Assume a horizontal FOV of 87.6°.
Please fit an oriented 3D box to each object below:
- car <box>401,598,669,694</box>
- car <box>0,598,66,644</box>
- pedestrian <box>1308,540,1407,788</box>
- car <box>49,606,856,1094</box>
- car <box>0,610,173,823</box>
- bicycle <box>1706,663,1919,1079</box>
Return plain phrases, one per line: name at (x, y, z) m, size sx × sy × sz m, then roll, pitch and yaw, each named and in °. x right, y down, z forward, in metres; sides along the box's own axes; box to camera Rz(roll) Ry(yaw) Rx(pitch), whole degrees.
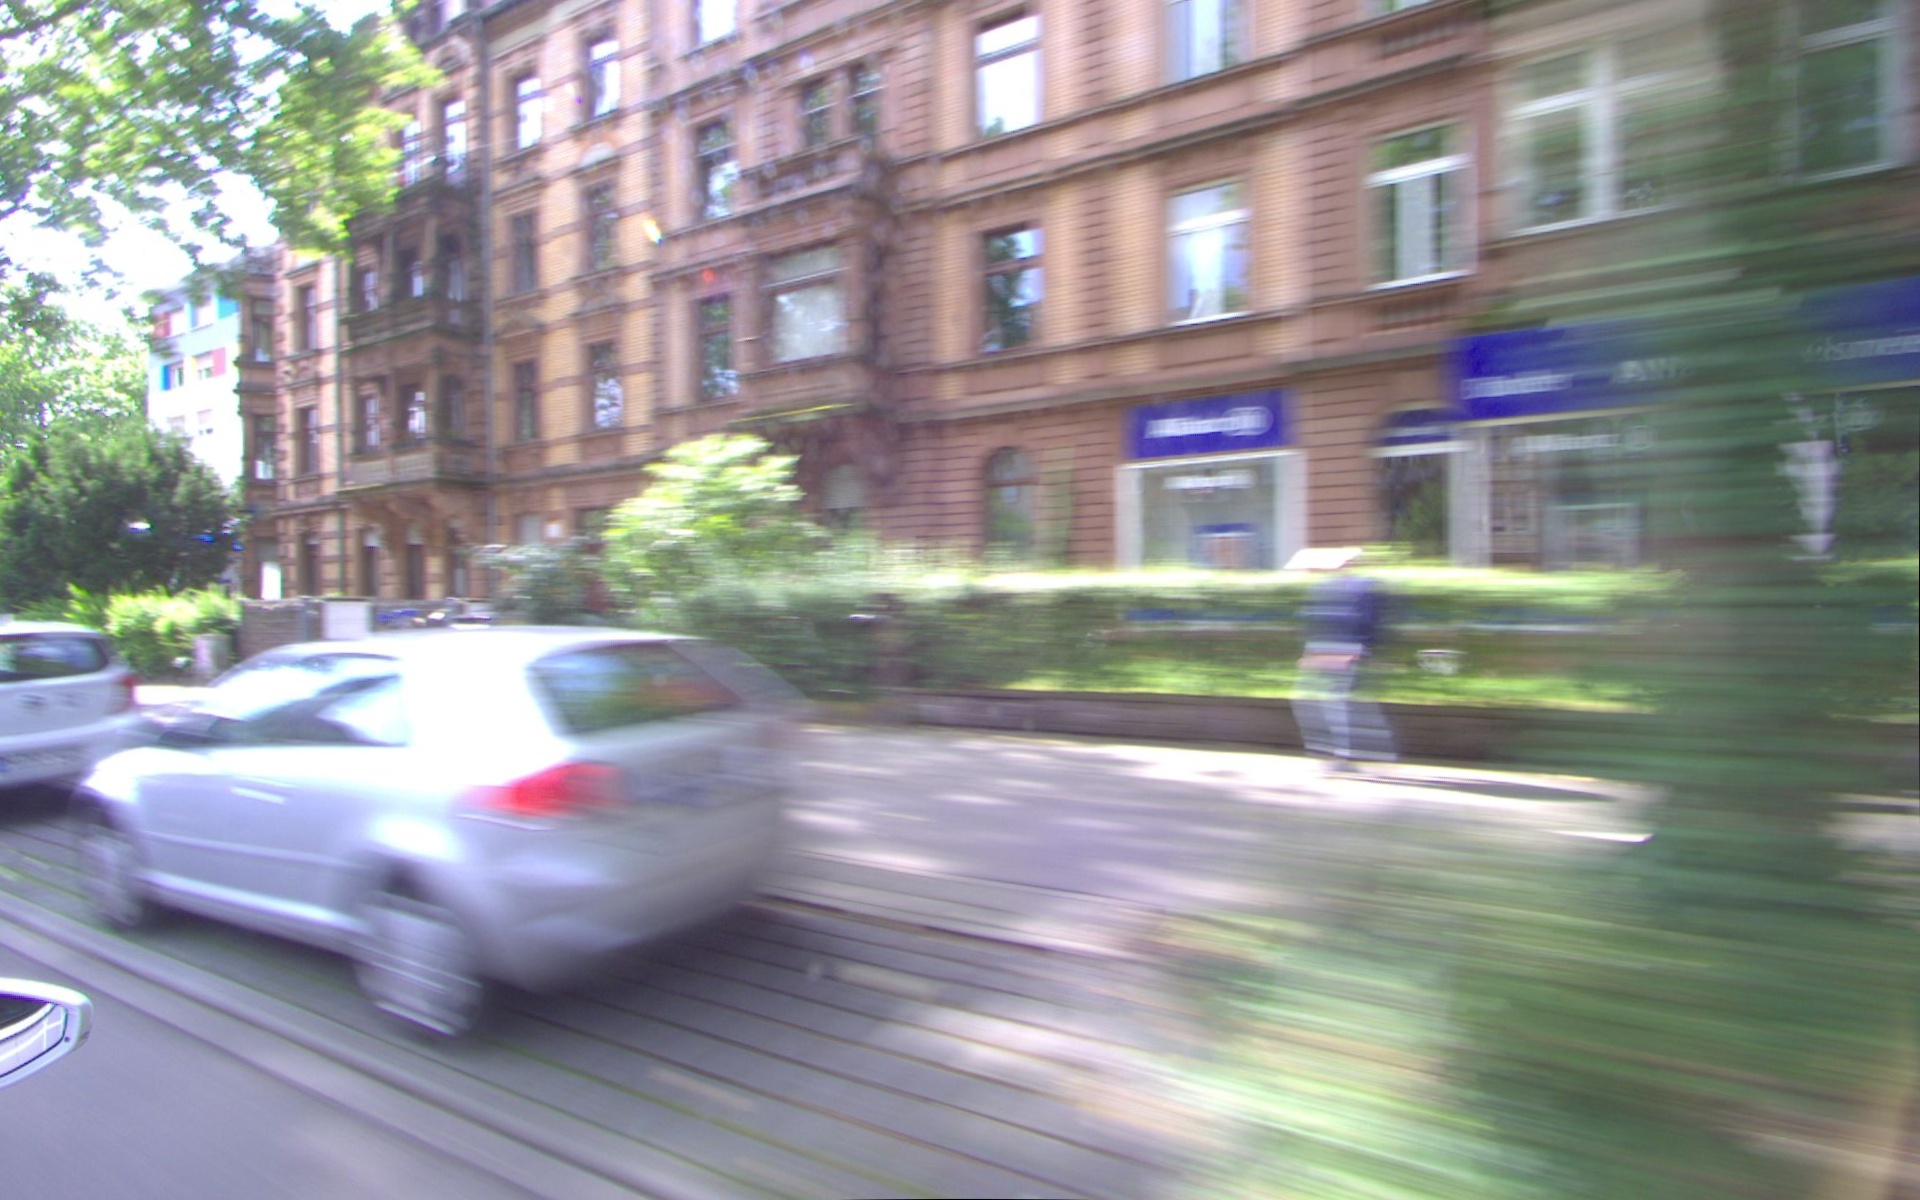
car at (-7.693, 0.759, 18.545) m, size 1.914 × 1.489 × 4.225 m, roll -1°, pitch 1°, yaw 31°
car at (-55.297, 1.221, 59.273) m, size 5.935 × 2.616 × 2.106 m, roll -1°, pitch 0°, yaw 34°
pedestrian at (3.066, 0.471, 7.709) m, size 0.621 × 1.809 × 0.563 m, roll 0°, pitch 0°, yaw 31°
car at (-2.533, 0.799, 4.792) m, size 3.802 × 1.463 × 1.674 m, roll -1°, pitch 1°, yaw 32°
car at (-8.328, 0.850, 8.353) m, size 3.802 × 1.505 × 1.551 m, roll 0°, pitch 0°, yaw 32°
bicycle at (2.868, 0.710, 2.684) m, size 1.303 × 1.033 × 0.579 m, roll -1°, pitch 0°, yaw 27°
